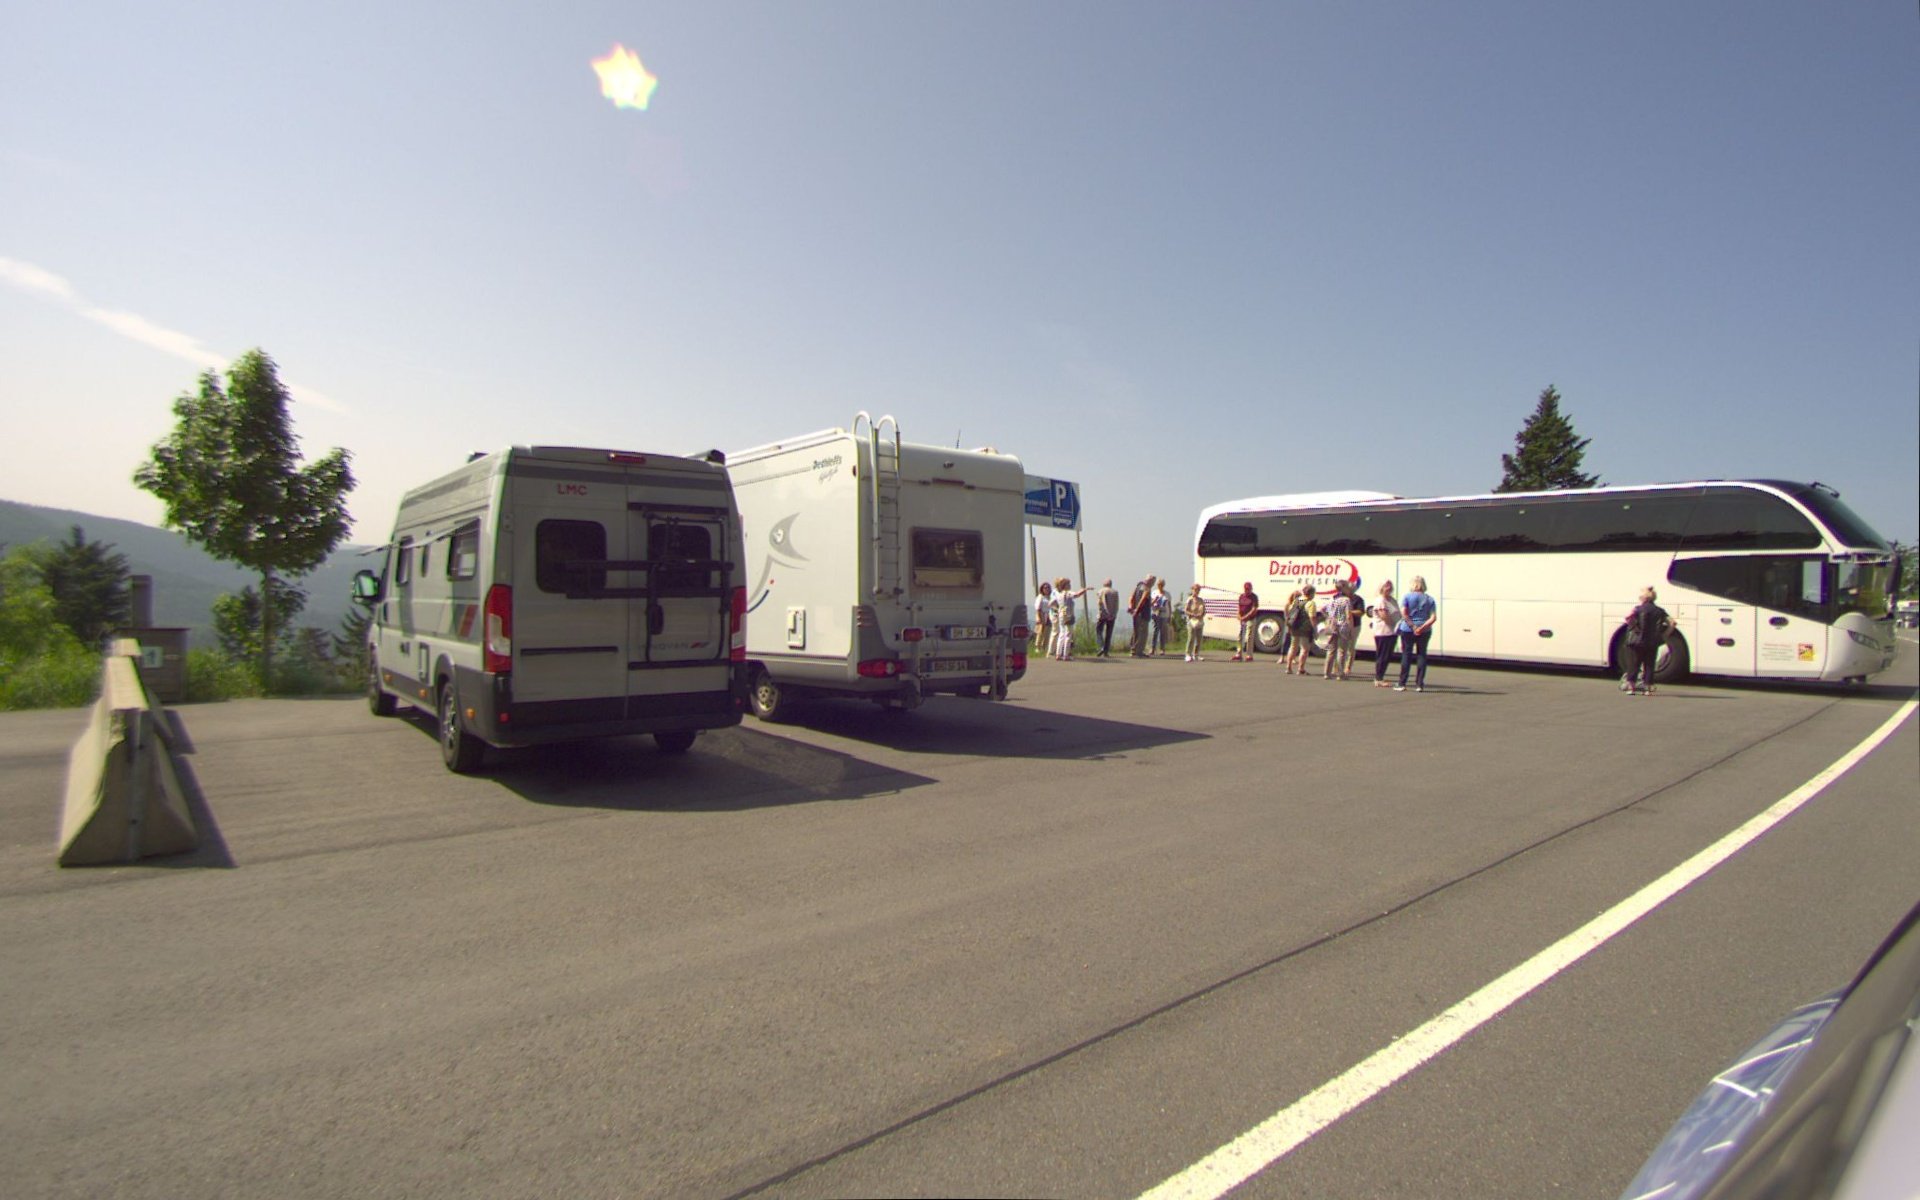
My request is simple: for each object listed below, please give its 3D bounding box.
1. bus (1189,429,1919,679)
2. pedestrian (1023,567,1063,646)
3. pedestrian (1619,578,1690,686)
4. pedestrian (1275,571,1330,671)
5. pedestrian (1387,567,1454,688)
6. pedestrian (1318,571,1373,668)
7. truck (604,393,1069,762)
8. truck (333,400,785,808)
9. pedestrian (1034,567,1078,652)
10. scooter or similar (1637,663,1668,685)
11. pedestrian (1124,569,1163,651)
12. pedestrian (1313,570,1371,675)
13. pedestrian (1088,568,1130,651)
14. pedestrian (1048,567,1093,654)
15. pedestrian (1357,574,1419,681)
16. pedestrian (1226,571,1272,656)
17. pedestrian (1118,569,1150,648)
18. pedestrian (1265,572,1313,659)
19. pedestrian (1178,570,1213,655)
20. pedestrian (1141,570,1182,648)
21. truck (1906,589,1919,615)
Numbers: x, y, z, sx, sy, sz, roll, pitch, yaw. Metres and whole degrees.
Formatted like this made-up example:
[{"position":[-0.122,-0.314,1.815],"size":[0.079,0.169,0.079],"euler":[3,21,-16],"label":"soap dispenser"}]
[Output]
[{"position":[10.692,-0.878,20.613],"size":[2.787,3.622,12.882],"euler":[0,2,-38],"label":"bus"},{"position":[1.825,0.142,22.386],"size":[0.615,1.718,0.633],"euler":[1,1,-26],"label":"pedestrian"},{"position":[10.449,0.467,15.239],"size":[0.615,1.586,0.633],"euler":[1,1,-26],"label":"pedestrian"},{"position":[6.017,0.352,17.814],"size":[0.615,1.718,0.633],"euler":[1,1,-26],"label":"pedestrian"},{"position":[6.967,0.393,15.320],"size":[0.615,1.779,0.633],"euler":[1,1,-26],"label":"pedestrian"},{"position":[6.930,0.340,18.202],"size":[0.615,1.700,0.633],"euler":[1,1,-26],"label":"pedestrian"},{"position":[-1.808,-0.305,12.000],"size":[2.488,3.235,6.075],"euler":[0,2,-41],"label":"truck"},{"position":[-4.230,-0.083,9.687],"size":[2.298,2.623,6.277],"euler":[0,2,-39],"label":"truck"},{"position":[1.983,0.183,20.948],"size":[0.615,1.718,0.633],"euler":[1,1,-26],"label":"pedestrian"},{"position":[10.898,1.164,15.920],"size":[0.320,0.315,0.286],"euler":[1,1,-31],"label":"scooter or similar"},{"position":[3.919,0.208,21.607],"size":[0.498,1.718,0.633],"euler":[1,1,-26],"label":"pedestrian"},{"position":[6.450,0.364,17.089],"size":[0.615,1.719,0.633],"euler":[1,1,-26],"label":"pedestrian"},{"position":[3.154,0.195,21.449],"size":[0.615,1.718,0.633],"euler":[1,1,-26],"label":"pedestrian"},{"position":[2.211,0.204,20.312],"size":[0.615,1.718,0.633],"euler":[1,1,-26],"label":"pedestrian"},{"position":[6.809,0.426,16.130],"size":[0.615,1.671,0.633],"euler":[1,1,-15],"label":"pedestrian"},{"position":[6.005,0.268,21.054],"size":[0.615,1.718,0.633],"euler":[1,1,-26],"label":"pedestrian"},{"position":[3.840,0.187,22.331],"size":[0.475,1.718,0.469],"euler":[1,1,-26],"label":"pedestrian"},{"position":[6.657,0.297,20.474],"size":[0.615,1.718,0.633],"euler":[1,1,-26],"label":"pedestrian"},{"position":[4.868,0.246,20.943],"size":[0.622,1.718,0.626],"euler":[1,1,9],"label":"pedestrian"},{"position":[4.506,0.193,22.664],"size":[0.615,1.718,0.633],"euler":[1,1,-26],"label":"pedestrian"},{"position":[110.777,0.271,113.449],"size":[8.576,2.865,2.877],"euler":[1,1,-17],"label":"truck"}]
